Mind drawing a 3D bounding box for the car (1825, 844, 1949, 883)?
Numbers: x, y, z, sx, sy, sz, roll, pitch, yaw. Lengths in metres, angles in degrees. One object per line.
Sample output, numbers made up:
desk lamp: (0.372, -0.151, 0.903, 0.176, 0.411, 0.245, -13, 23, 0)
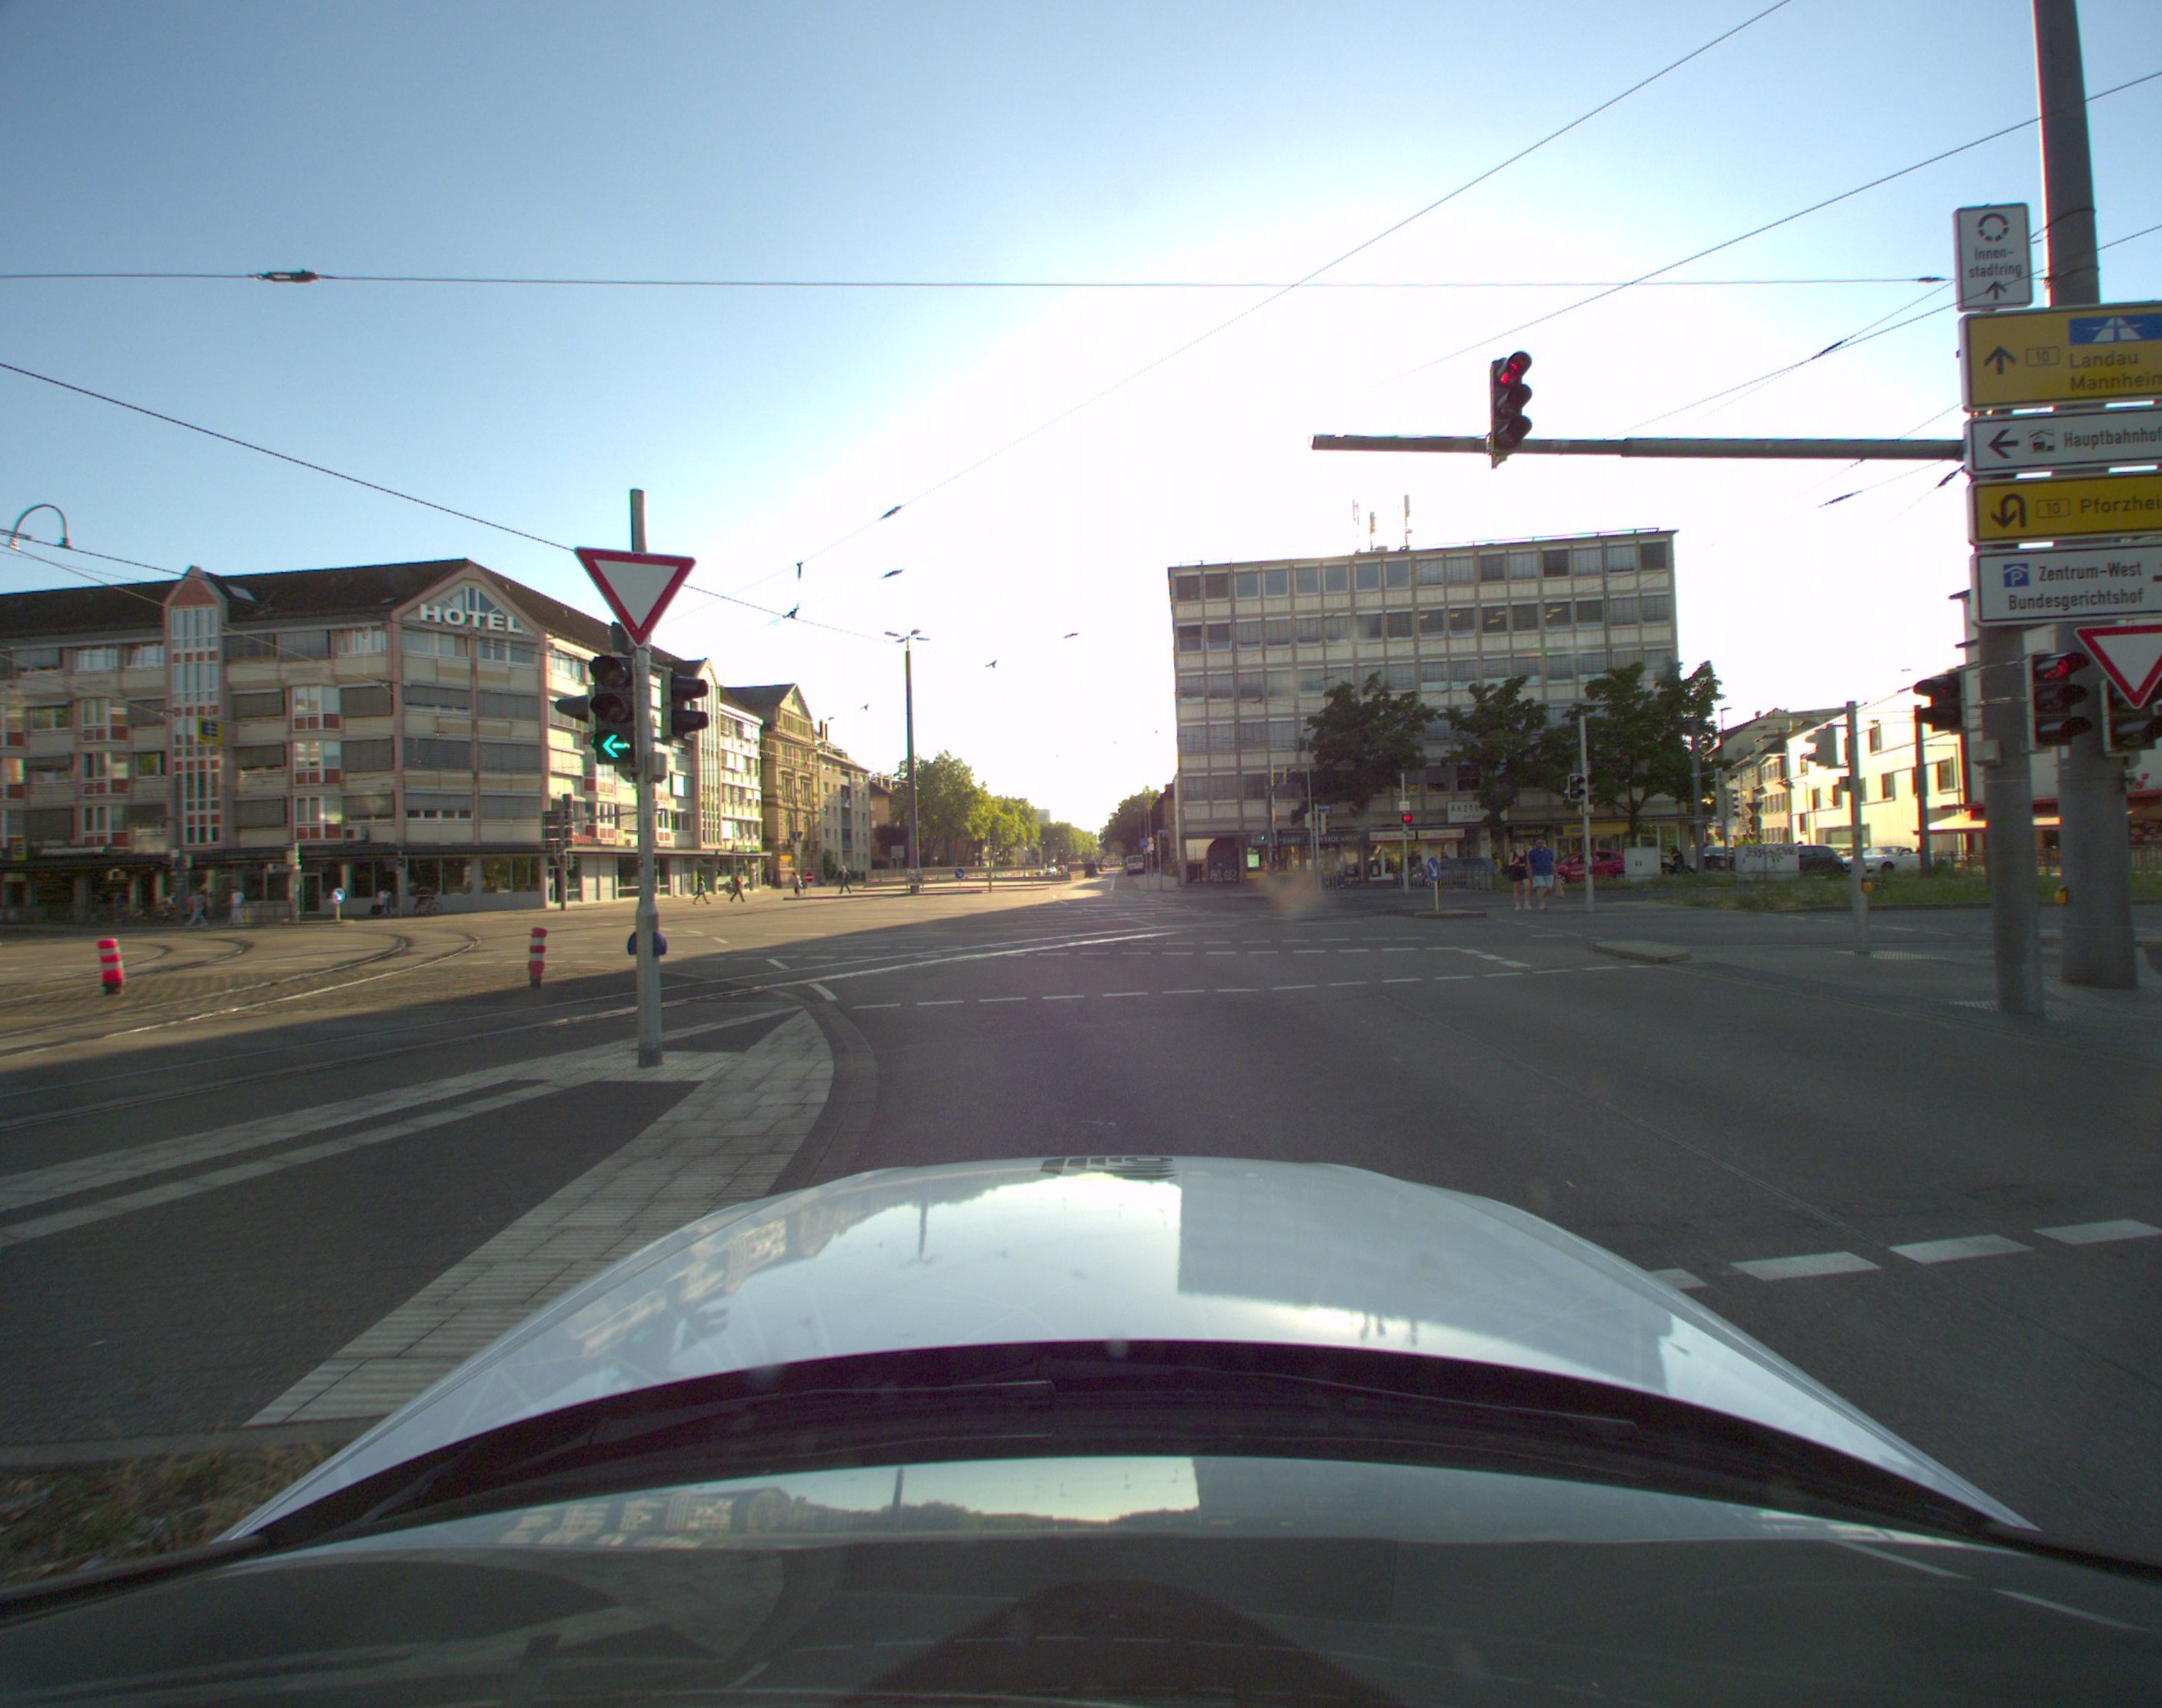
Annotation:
car: (34.523, 0.400, 34.923, 3.987, 1.618, 1.837, 0, -1, -11)

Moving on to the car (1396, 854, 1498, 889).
car: (17.311, 0.831, 38.696, 4.046, 1.618, 1.847, 0, -1, 6)

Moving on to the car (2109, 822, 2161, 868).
car: (45.270, -0.369, 32.778, 4.577, 1.842, 1.912, -1, -1, 16)

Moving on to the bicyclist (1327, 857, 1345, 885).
bicyclist: (13.287, 0.869, 42.443, 0.677, 1.424, 0.671, 0, -1, 1)

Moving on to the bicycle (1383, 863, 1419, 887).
bicycle: (17.009, 1.096, 43.420, 0.748, 1.143, 2.638, 0, 2, -4)

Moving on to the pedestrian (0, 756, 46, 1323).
pedestrian: (-4.038, 0.610, 2.546, 0.778, 1.801, 0.905, -4, -2, 43)

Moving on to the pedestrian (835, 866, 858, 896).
pedestrian: (-14.094, 1.617, 48.971, 1.191, 1.731, 0.855, 0, -1, -3)

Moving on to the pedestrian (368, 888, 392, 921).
pedestrian: (-36.518, 2.621, 42.433, 0.717, 1.662, 0.629, -2, -1, -22)

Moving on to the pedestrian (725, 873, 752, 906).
pedestrian: (-20.004, 2.066, 47.636, 1.191, 1.883, 0.856, 0, 2, -3)

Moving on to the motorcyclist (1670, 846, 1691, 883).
motorcyclist: (24.807, 0.447, 33.700, 0.458, 1.509, 0.536, 0, -1, 7)

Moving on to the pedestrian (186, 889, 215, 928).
pedestrian: (-39.950, 2.451, 36.966, 0.625, 1.694, 0.859, 0, -1, -29)

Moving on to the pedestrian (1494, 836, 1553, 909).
pedestrian: (10.566, 0.434, 19.468, 0.700, 1.682, 1.030, 1, -1, -36)

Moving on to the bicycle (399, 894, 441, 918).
bicycle: (-34.797, 2.729, 42.897, 0.635, 1.145, 1.773, 0, 2, 6)

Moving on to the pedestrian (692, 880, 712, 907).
pedestrian: (-21.071, 2.189, 45.303, 0.703, 1.453, 0.855, 0, -1, -2)

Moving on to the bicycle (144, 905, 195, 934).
bicycle: (-46.081, 3.306, 41.180, 2.078, 1.366, 0.585, -1, 1, 5)

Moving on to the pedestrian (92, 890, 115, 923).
pedestrian: (-56.200, 3.030, 46.836, 0.597, 1.852, 0.613, -1, -1, 12)

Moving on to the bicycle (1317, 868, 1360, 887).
bicycle: (13.414, 1.218, 42.429, 2.017, 0.940, 0.671, 0, -1, 1)

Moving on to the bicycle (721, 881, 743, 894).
bicycle: (-29.529, 2.856, 68.932, 0.447, 1.071, 2.102, -1, -1, 19)

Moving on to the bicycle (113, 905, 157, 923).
bicycle: (-52.433, 3.349, 45.133, 2.060, 0.917, 0.502, -2, -1, 7)

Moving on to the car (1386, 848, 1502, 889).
car: (14.718, 0.591, 33.228, 3.966, 1.618, 1.847, 0, -1, 6)

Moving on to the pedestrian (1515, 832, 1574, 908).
pedestrian: (11.283, 0.384, 19.832, 0.700, 1.793, 1.030, 1, -1, -36)

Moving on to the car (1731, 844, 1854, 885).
car: (29.372, 0.437, 33.657, 3.990, 1.618, 1.836, 0, -1, -13)

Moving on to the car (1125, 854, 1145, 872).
car: (6.561, 1.117, 98.354, 2.275, 2.172, 4.838, 0, -1, 4)

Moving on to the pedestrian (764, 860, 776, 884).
pedestrian: (-30.977, 1.791, 81.099, 0.926, 2.398, 0.958, 0, -1, -9)

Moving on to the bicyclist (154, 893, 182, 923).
bicyclist: (-46.169, 2.723, 41.184, 0.732, 1.481, 0.567, -1, 1, 5)

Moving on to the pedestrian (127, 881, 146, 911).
pedestrian: (-53.541, 2.363, 46.172, 0.614, 1.635, 0.596, 1, -2, -42)

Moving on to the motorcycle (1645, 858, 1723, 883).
motorcycle: (24.922, 0.696, 33.686, 2.648, 1.001, 0.536, 0, -1, 6)

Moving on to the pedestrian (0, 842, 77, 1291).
pedestrian: (-4.500, 0.779, 2.993, 0.905, 1.640, 0.778, 1, -2, -44)

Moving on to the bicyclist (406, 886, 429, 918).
bicyclist: (-34.810, 2.507, 42.735, 0.635, 1.596, 0.659, 0, 1, 5)

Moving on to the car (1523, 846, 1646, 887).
car: (20.906, 0.530, 33.942, 3.966, 1.618, 1.847, 0, -1, 6)

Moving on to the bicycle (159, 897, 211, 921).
bicycle: (-49.434, 3.018, 44.949, 2.312, 1.227, 0.731, -2, -1, 7)

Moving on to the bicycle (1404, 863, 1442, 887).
bicycle: (18.203, 1.098, 43.432, 0.748, 1.143, 2.638, 0, 2, -4)

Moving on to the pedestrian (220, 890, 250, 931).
pedestrian: (-38.147, 2.531, 36.724, 0.510, 1.764, 0.999, 0, -1, -17)

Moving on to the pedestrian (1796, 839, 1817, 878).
pedestrian: (37.457, 0.228, 42.031, 0.619, 2.014, 0.719, -1, -1, 27)

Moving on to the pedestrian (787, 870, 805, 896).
pedestrian: (-16.307, 1.654, 46.621, 0.858, 1.465, 0.680, 0, -6, -27)
